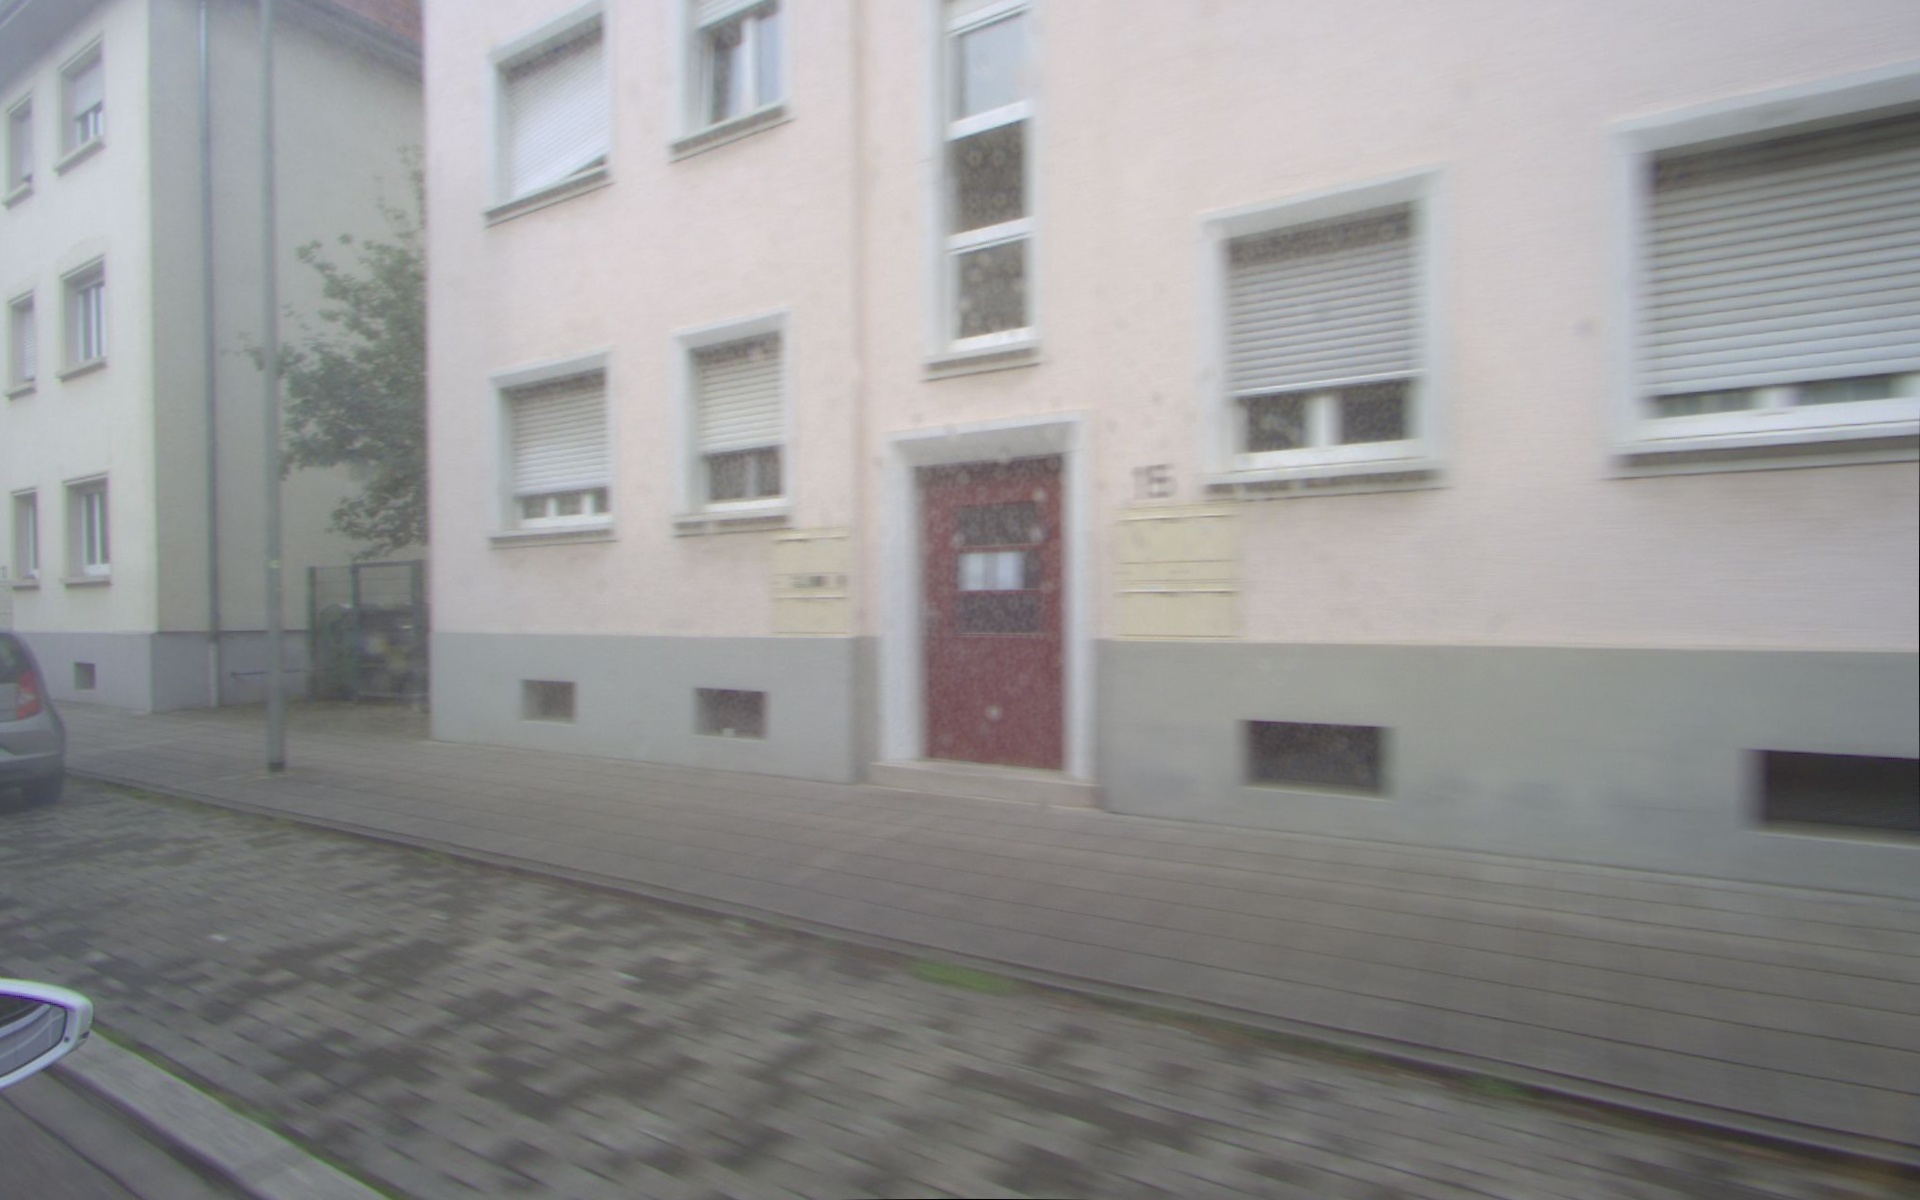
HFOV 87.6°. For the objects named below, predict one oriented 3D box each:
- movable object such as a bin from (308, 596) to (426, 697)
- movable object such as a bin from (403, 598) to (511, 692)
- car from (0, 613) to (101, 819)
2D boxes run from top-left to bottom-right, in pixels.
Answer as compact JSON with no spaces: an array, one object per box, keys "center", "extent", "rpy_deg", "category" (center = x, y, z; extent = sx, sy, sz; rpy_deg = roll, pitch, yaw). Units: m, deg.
[{"center":[-9.005,0.679,15.231],"extent":[1.133,1.463,1.159],"rpy_deg":[0,0,32],"category":"movable object such as a bin"},{"center":[-8.250,0.711,16.447],"extent":[1.133,1.463,1.159],"rpy_deg":[0,0,32],"category":"movable object such as a bin"},{"center":[-8.974,0.876,8.282],"extent":[4.002,1.512,1.721],"rpy_deg":[0,0,32],"category":"car"}]
